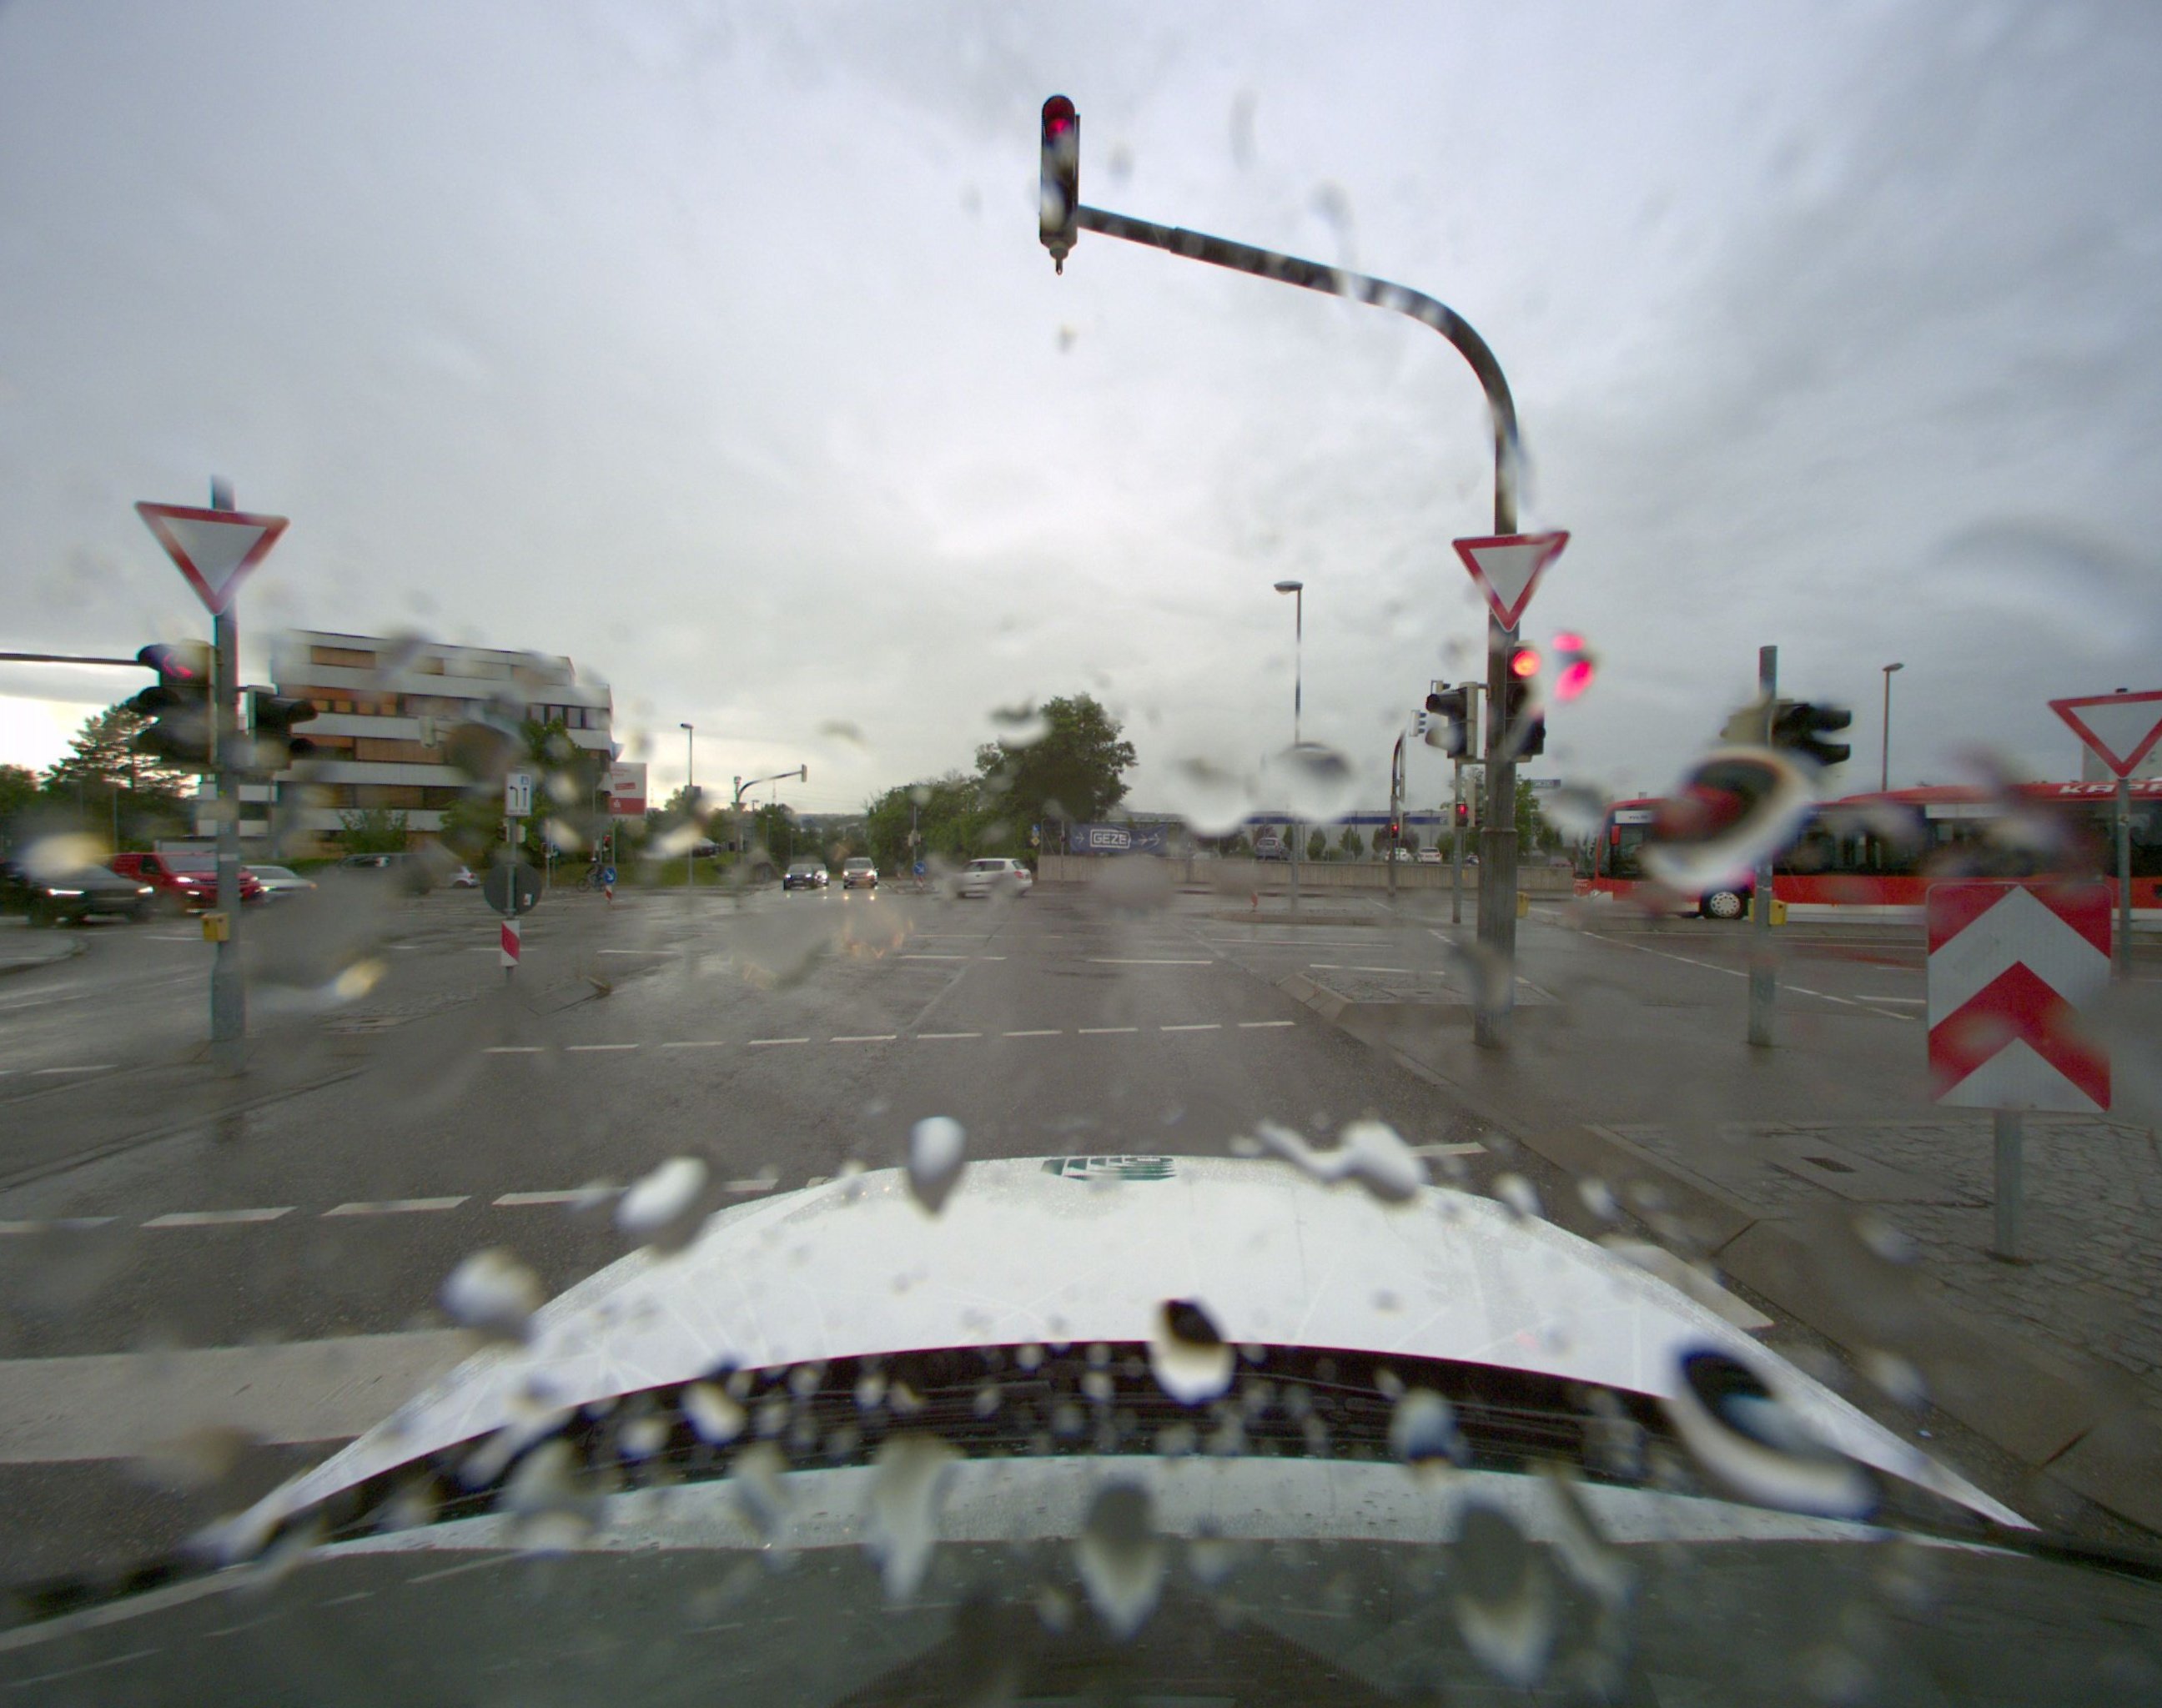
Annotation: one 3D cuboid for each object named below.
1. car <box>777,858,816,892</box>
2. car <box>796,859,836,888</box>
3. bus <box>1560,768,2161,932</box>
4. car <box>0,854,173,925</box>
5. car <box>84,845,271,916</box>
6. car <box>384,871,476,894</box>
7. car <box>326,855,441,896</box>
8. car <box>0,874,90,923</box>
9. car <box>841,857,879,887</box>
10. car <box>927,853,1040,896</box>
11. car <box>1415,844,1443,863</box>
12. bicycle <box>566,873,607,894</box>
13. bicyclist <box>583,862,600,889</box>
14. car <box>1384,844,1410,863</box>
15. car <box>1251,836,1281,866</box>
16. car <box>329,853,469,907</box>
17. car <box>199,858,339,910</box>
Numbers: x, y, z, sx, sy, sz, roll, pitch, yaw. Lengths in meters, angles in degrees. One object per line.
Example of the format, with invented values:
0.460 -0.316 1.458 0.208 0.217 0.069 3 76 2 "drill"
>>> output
-16.938 1.213 48.611 1.998 1.895 3.978 0 0 -16 "car"
-18.195 1.316 56.070 1.994 1.895 3.987 0 0 -10 "car"
18.673 -0.173 19.340 12.176 3.321 3.090 1 1 19 "bus"
-26.401 0.905 21.096 4.581 1.679 2.043 -1 0 16 "car"
-27.502 0.756 24.806 4.734 2.013 2.009 0 0 17 "car"
-35.099 1.519 44.013 3.522 1.105 1.805 0 0 -26 "car"
-32.740 0.967 38.276 3.962 1.849 2.006 0 0 10 "car"
-36.860 1.496 28.048 4.620 1.476 2.010 0 0 19 "car"
-13.016 1.019 48.209 1.995 1.618 3.983 0 0 -13 "car"
-3.804 0.765 32.134 3.960 1.596 1.964 0 0 12 "car"
28.687 -0.039 67.186 1.976 1.478 4.021 0 0 21 "car"
-26.338 1.560 43.402 1.771 1.052 0.609 0 0 -5 "bicycle"
-26.109 1.151 43.423 0.542 1.446 0.602 0 0 -5 "bicyclist"
26.381 -0.049 67.865 1.976 1.478 4.021 0 0 22 "car"
13.096 -0.196 57.562 1.979 2.013 4.015 0 0 13 "car"
-24.899 0.887 29.767 4.108 1.840 2.009 0 0 17 "car"
-28.359 0.990 28.454 3.953 1.684 2.010 0 0 21 "car"
